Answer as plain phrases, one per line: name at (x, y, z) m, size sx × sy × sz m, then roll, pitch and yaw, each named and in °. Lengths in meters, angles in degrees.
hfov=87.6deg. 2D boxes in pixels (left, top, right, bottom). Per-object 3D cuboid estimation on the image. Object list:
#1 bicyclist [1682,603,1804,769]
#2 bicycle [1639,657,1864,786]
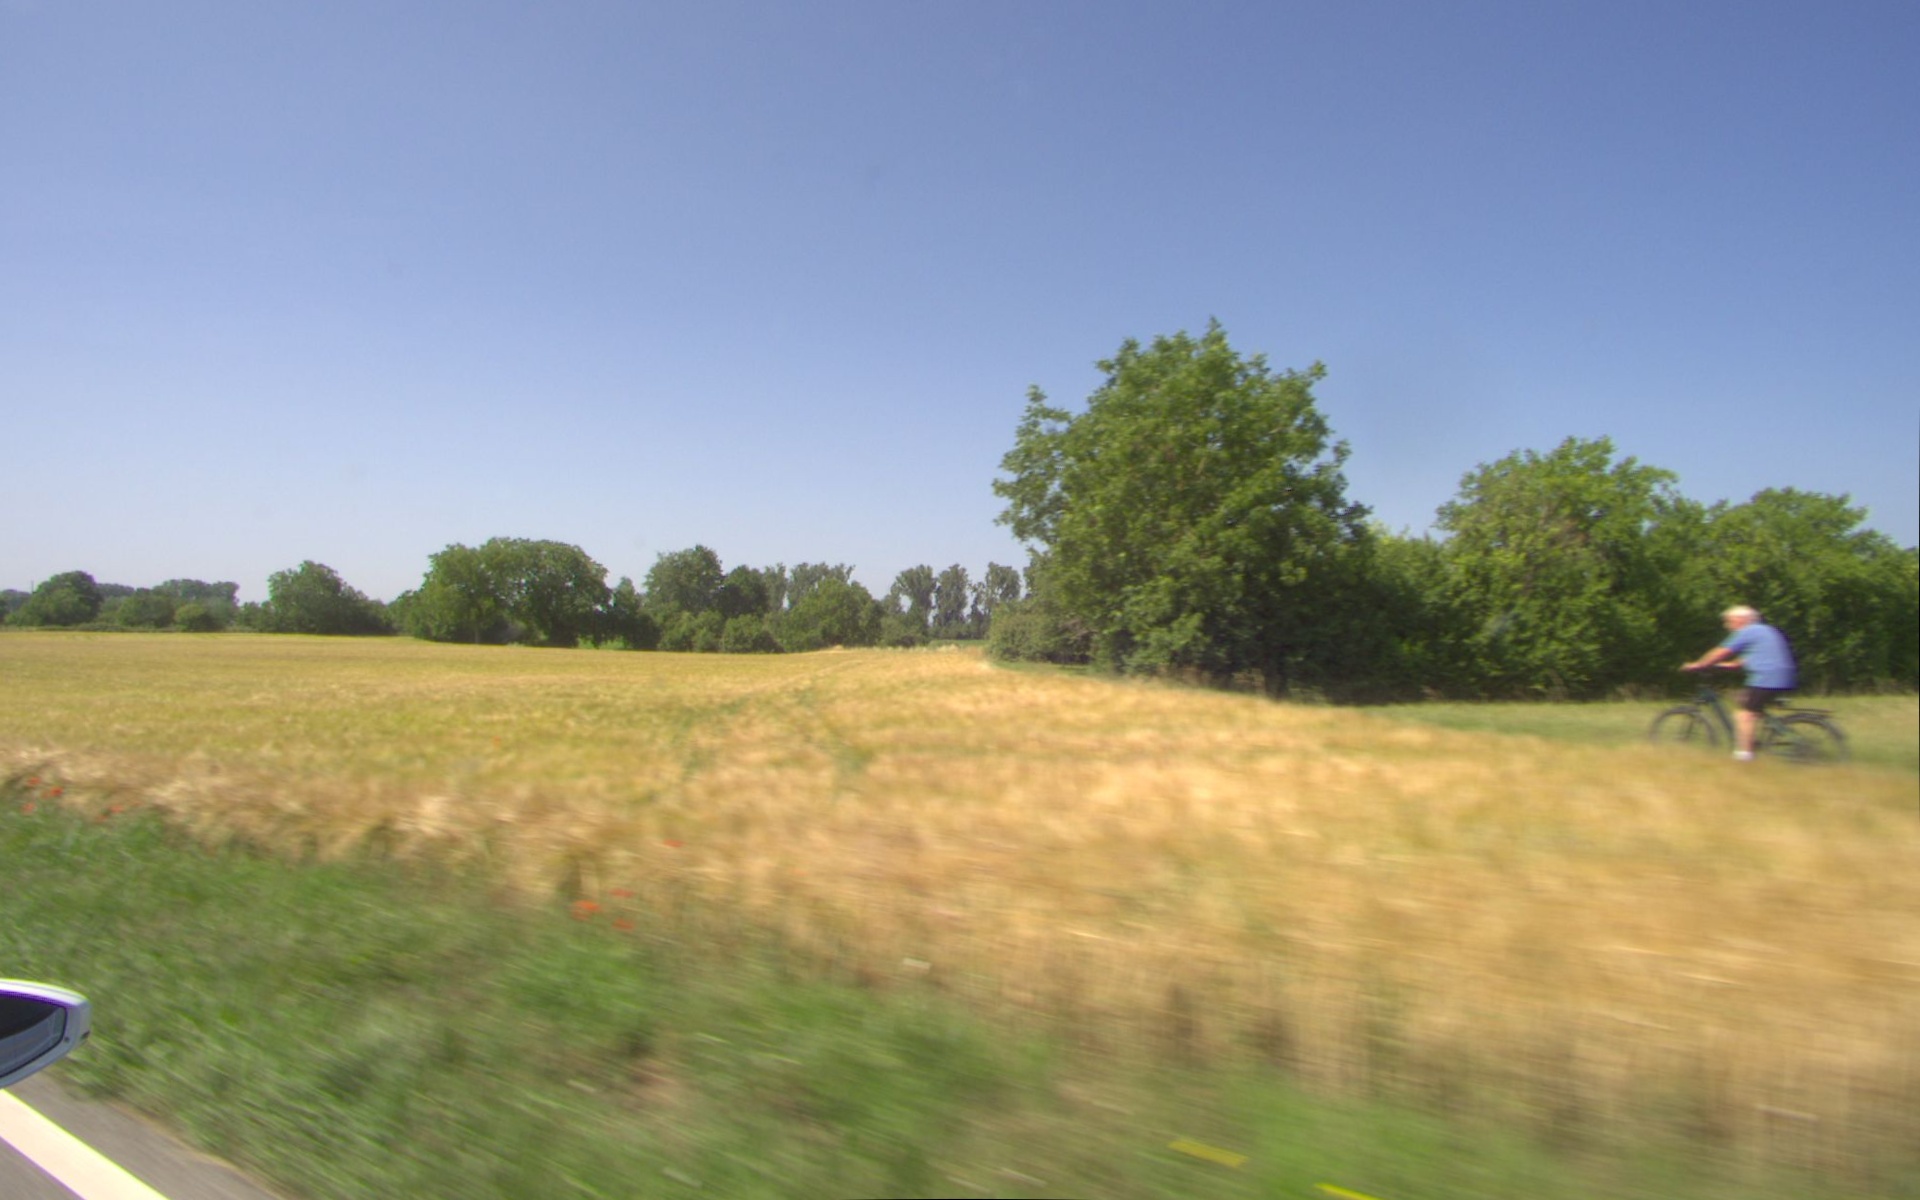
bicyclist at (7.843, 0.840, 10.047) m, size 0.663 × 1.594 × 0.734 m, roll 1°, pitch -1°, yaw -21°
bicycle at (7.843, 1.159, 10.032) m, size 0.513 × 1.130 × 1.765 m, roll 1°, pitch -2°, yaw -21°
